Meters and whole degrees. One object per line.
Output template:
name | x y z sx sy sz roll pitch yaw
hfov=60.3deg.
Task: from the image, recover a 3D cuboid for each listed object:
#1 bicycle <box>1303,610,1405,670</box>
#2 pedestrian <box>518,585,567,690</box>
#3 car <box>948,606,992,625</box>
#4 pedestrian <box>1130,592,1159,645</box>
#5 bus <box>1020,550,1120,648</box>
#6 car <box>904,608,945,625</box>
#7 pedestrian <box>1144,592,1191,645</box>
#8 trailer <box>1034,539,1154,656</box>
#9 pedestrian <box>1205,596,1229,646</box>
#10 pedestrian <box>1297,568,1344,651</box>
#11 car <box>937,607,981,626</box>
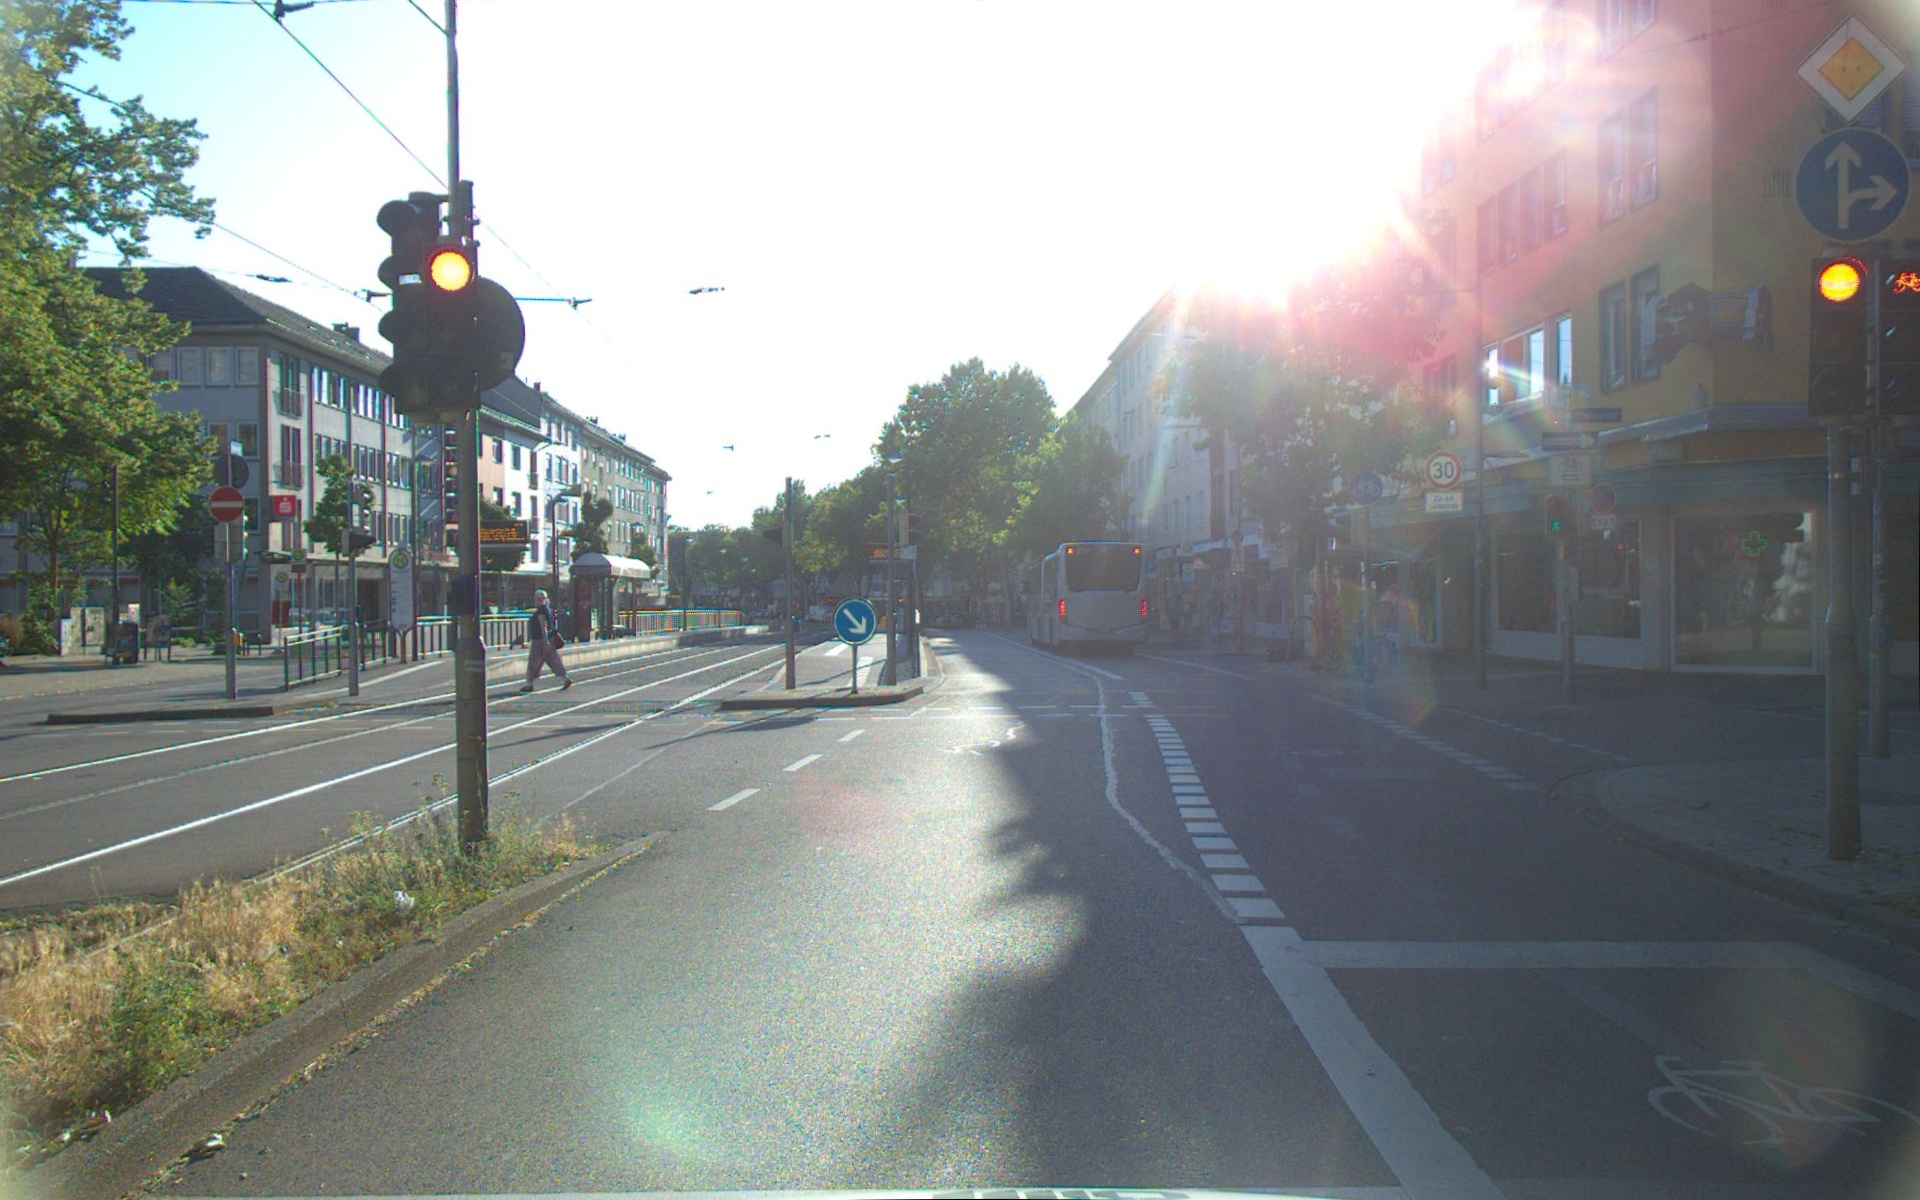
bicycle | 7.475 0.753 31.421 1.737 1.039 0.694 -2 0 -2
pedestrian | -7.304 0.651 28.965 0.666 1.801 0.687 -1 0 -1
car | 0.949 1.490 158.758 3.848 1.729 1.815 -1 0 -30
pedestrian | 6.257 0.625 56.106 0.724 1.732 0.570 -3 1 -42
bus | 3.778 -0.036 58.959 2.755 3.156 9.092 1 0 -1
car | -3.592 1.614 166.384 3.848 1.624 1.674 -1 0 -30
pedestrian | 6.843 0.597 54.557 1.131 1.689 1.178 -1 0 -21
trailer | 3.890 -0.063 50.047 2.755 3.165 8.792 1 0 -1
pedestrian | 8.514 0.696 54.806 0.662 1.656 0.655 1 0 0
pedestrian | 9.034 0.236 41.462 0.934 2.049 0.917 0 1 -3
car | -0.104 1.592 161.316 3.848 1.729 1.815 -1 0 -30
